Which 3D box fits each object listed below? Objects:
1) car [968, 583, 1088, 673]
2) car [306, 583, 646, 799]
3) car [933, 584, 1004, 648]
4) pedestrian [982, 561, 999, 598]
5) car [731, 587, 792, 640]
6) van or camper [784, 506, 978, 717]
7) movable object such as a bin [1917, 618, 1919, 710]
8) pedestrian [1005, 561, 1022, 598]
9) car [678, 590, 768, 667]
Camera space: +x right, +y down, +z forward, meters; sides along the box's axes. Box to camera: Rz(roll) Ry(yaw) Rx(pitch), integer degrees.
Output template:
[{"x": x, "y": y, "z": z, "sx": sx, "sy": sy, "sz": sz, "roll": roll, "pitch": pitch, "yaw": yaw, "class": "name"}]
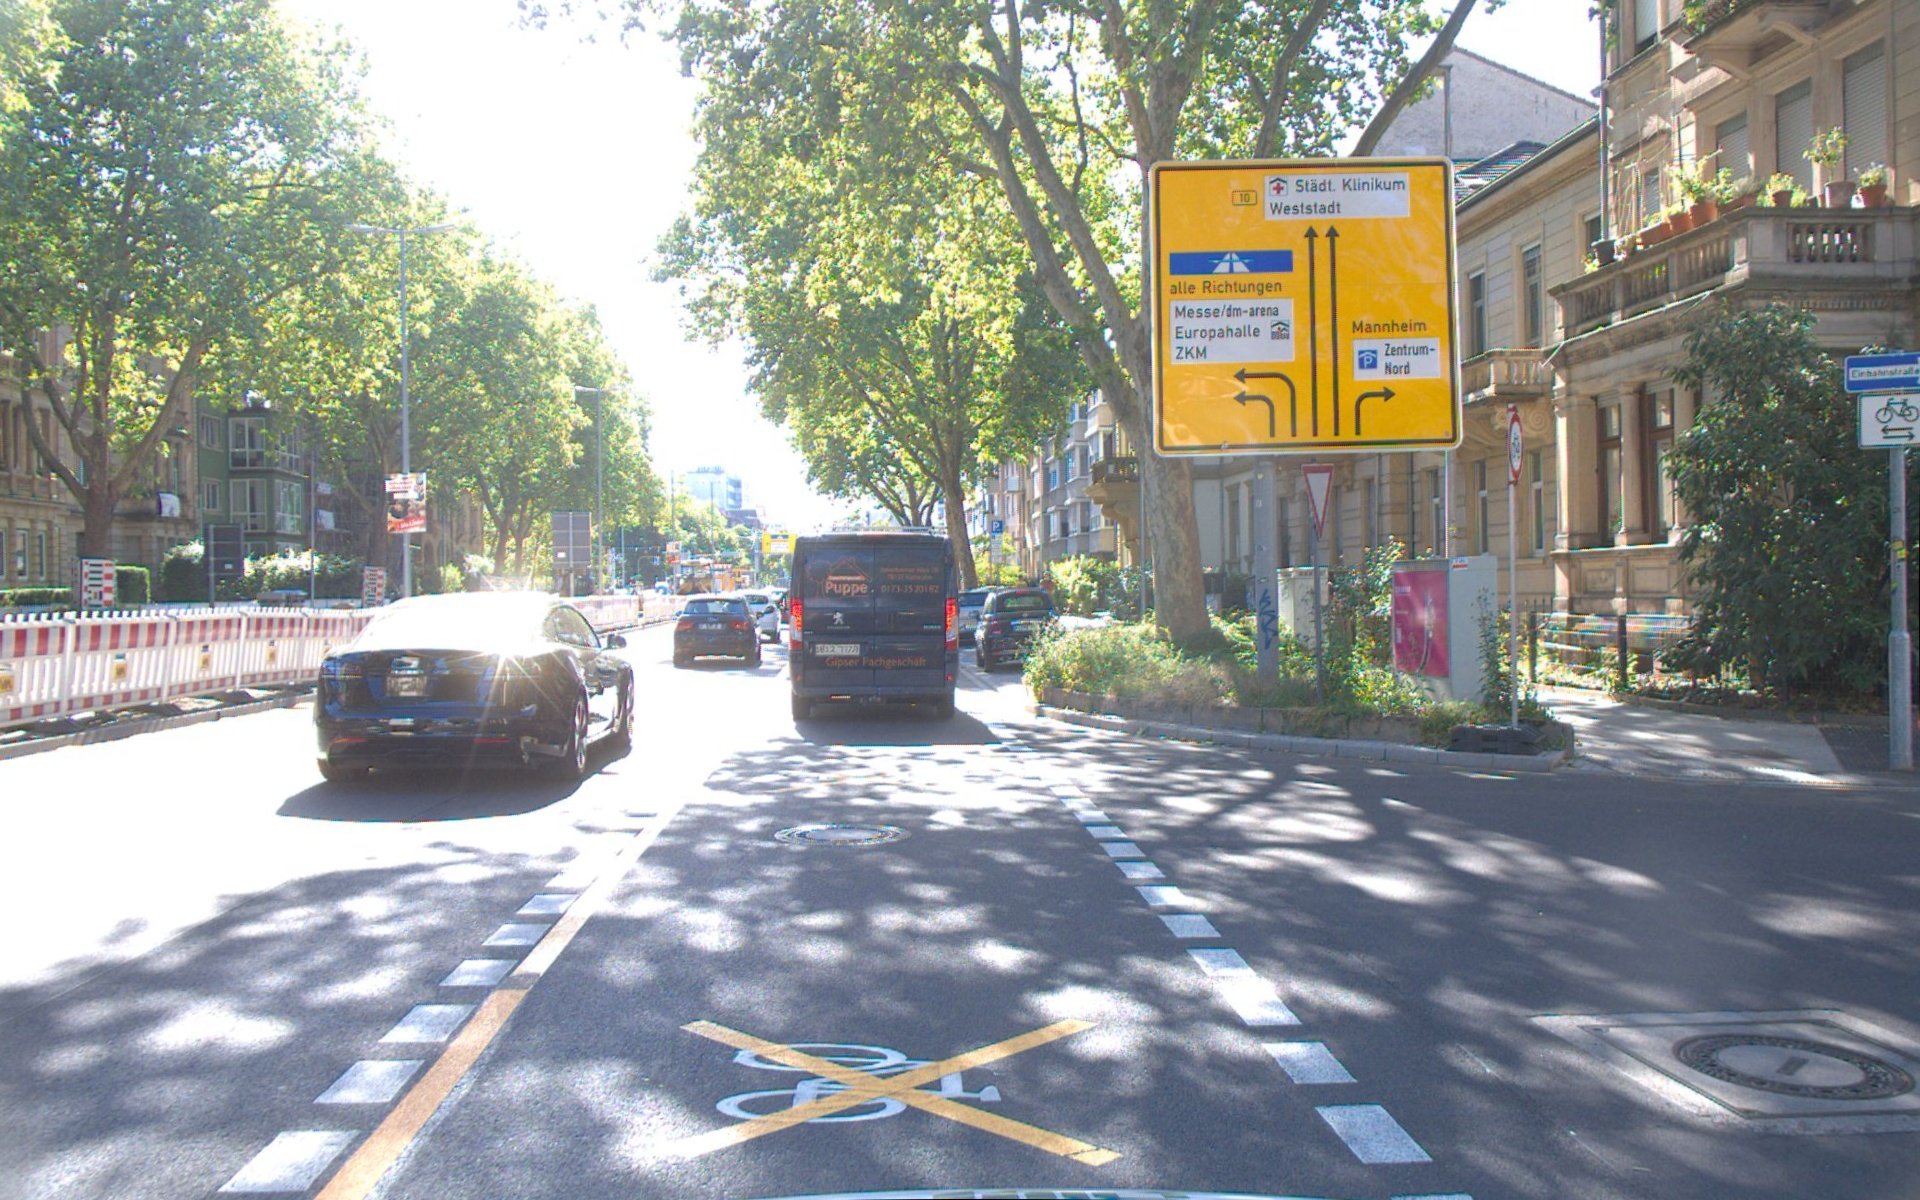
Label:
[{"x": 1.237, "y": 0.501, "z": 31.822, "sx": 1.738, "sy": 1.596, "sz": 3.995, "roll": -1, "pitch": 0, "yaw": -6, "class": "car"}, {"x": -3.827, "y": 0.626, "z": 13.895, "sx": 1.801, "sy": 1.509, "sz": 4.473, "roll": 0, "pitch": 0, "yaw": -4, "class": "car"}, {"x": 0.177, "y": 0.405, "z": 44.666, "sx": 1.737, "sy": 1.596, "sz": 3.998, "roll": -1, "pitch": 0, "yaw": -2, "class": "car"}, {"x": 1.997, "y": -1.320, "z": 107.334, "sx": 1.036, "sy": 2.387, "sz": 0.816, "roll": 0, "pitch": 0, "yaw": -1, "class": "pedestrian"}, {"x": -5.813, "y": 0.371, "z": 48.744, "sx": 1.588, "sy": 1.512, "sz": 3.731, "roll": 0, "pitch": 0, "yaw": -4, "class": "car"}, {"x": -1.089, "y": 0.113, "z": 21.108, "sx": 2.202, "sy": 2.387, "sz": 4.533, "roll": 0, "pitch": 0, "yaw": -5, "class": "van or camper"}, {"x": 10.531, "y": 0.688, "z": 17.701, "sx": 0.337, "sy": 0.987, "sz": 0.382, "roll": -1, "pitch": 0, "yaw": -2, "class": "movable object such as a bin"}, {"x": 3.445, "y": -1.311, "z": 106.859, "sx": 1.036, "sy": 2.387, "sz": 0.816, "roll": 0, "pitch": 0, "yaw": -1, "class": "pedestrian"}, {"x": -4.914, "y": 0.553, "z": 34.655, "sx": 1.588, "sy": 1.512, "sz": 3.731, "roll": 0, "pitch": 0, "yaw": -4, "class": "car"}]
